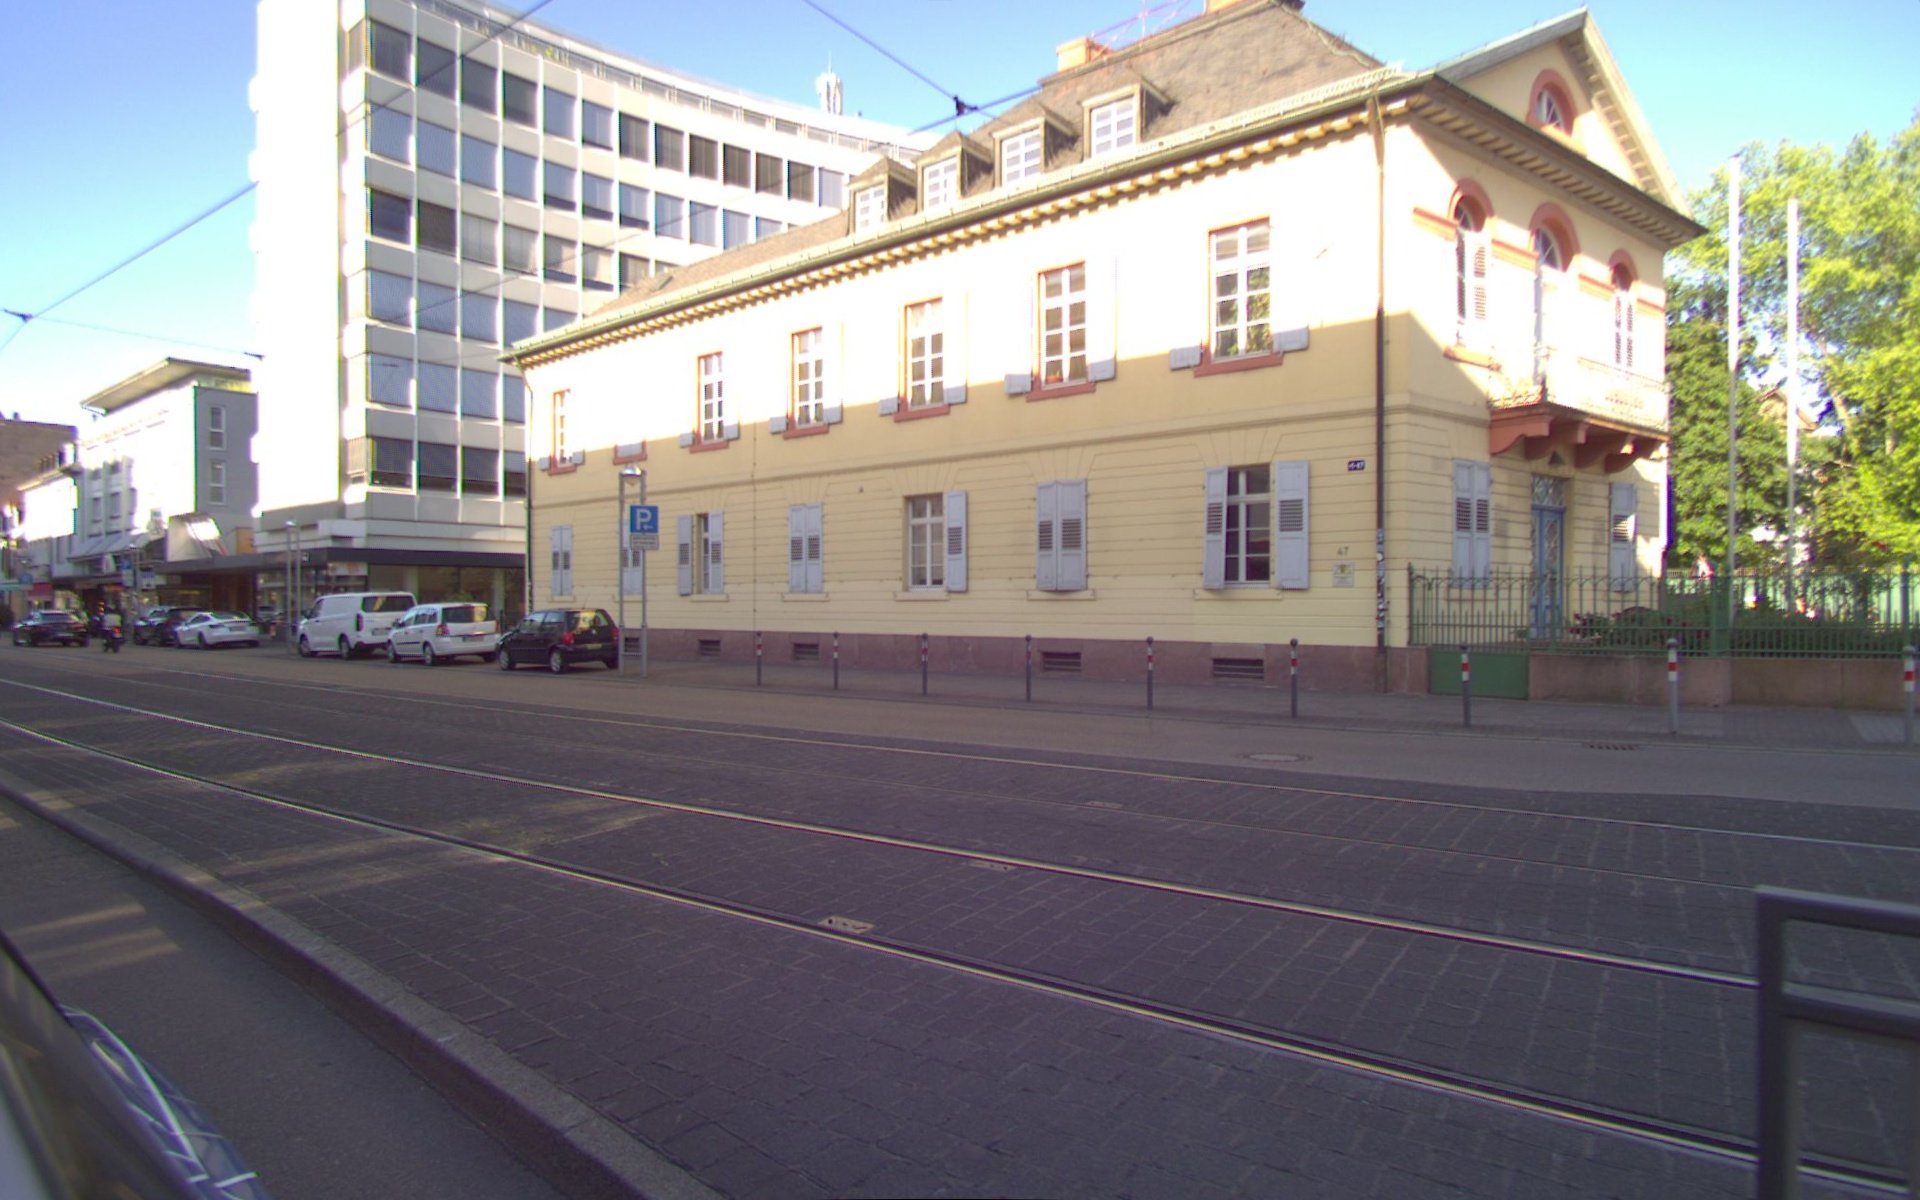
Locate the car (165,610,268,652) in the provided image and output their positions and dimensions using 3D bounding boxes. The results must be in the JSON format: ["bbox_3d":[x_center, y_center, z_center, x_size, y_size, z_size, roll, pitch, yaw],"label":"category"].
[{"bbox_3d":[-28.933,1.169,39.350,4.283,1.463,1.909,0,1,35],"label":"car"}]

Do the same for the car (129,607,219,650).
[{"bbox_3d":[-33.208,1.151,42.722,4.274,1.654,1.908,0,1,36],"label":"car"}]

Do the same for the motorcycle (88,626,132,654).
[{"bbox_3d":[-30.163,1.406,35.910,2.149,0.933,0.594,0,0,33],"label":"motorcycle"}]

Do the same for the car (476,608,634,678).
[{"bbox_3d":[-9.605,0.944,23.879,3.957,1.450,1.759,0,2,39],"label":"car"}]

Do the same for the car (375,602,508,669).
[{"bbox_3d":[-14.096,0.888,27.422,4.174,1.632,1.758,0,2,41],"label":"car"}]

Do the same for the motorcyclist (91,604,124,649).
[{"bbox_3d":[-30.361,0.937,36.036,0.881,1.570,0.647,0,0,32],"label":"motorcyclist"}]

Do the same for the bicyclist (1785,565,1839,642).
[{"bbox_3d":[19.064,0.080,22.641,0.517,1.686,0.773,0,0,-26],"label":"bicyclist"}]

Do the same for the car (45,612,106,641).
[{"bbox_3d":[-47.071,1.377,53.864,3.591,1.427,1.765,0,0,37],"label":"car"}]

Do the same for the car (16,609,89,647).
[{"bbox_3d":[-37.653,1.144,41.950,4.669,1.521,1.757,-1,-2,42],"label":"car"}]

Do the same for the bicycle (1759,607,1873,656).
[{"bbox_3d":[19.085,0.687,22.611,0.522,1.021,1.903,0,0,-26],"label":"bicycle"}]

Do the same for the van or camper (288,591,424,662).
[{"bbox_3d":[-18.557,0.747,31.004,4.790,1.988,1.936,0,1,38],"label":"van or camper"}]
